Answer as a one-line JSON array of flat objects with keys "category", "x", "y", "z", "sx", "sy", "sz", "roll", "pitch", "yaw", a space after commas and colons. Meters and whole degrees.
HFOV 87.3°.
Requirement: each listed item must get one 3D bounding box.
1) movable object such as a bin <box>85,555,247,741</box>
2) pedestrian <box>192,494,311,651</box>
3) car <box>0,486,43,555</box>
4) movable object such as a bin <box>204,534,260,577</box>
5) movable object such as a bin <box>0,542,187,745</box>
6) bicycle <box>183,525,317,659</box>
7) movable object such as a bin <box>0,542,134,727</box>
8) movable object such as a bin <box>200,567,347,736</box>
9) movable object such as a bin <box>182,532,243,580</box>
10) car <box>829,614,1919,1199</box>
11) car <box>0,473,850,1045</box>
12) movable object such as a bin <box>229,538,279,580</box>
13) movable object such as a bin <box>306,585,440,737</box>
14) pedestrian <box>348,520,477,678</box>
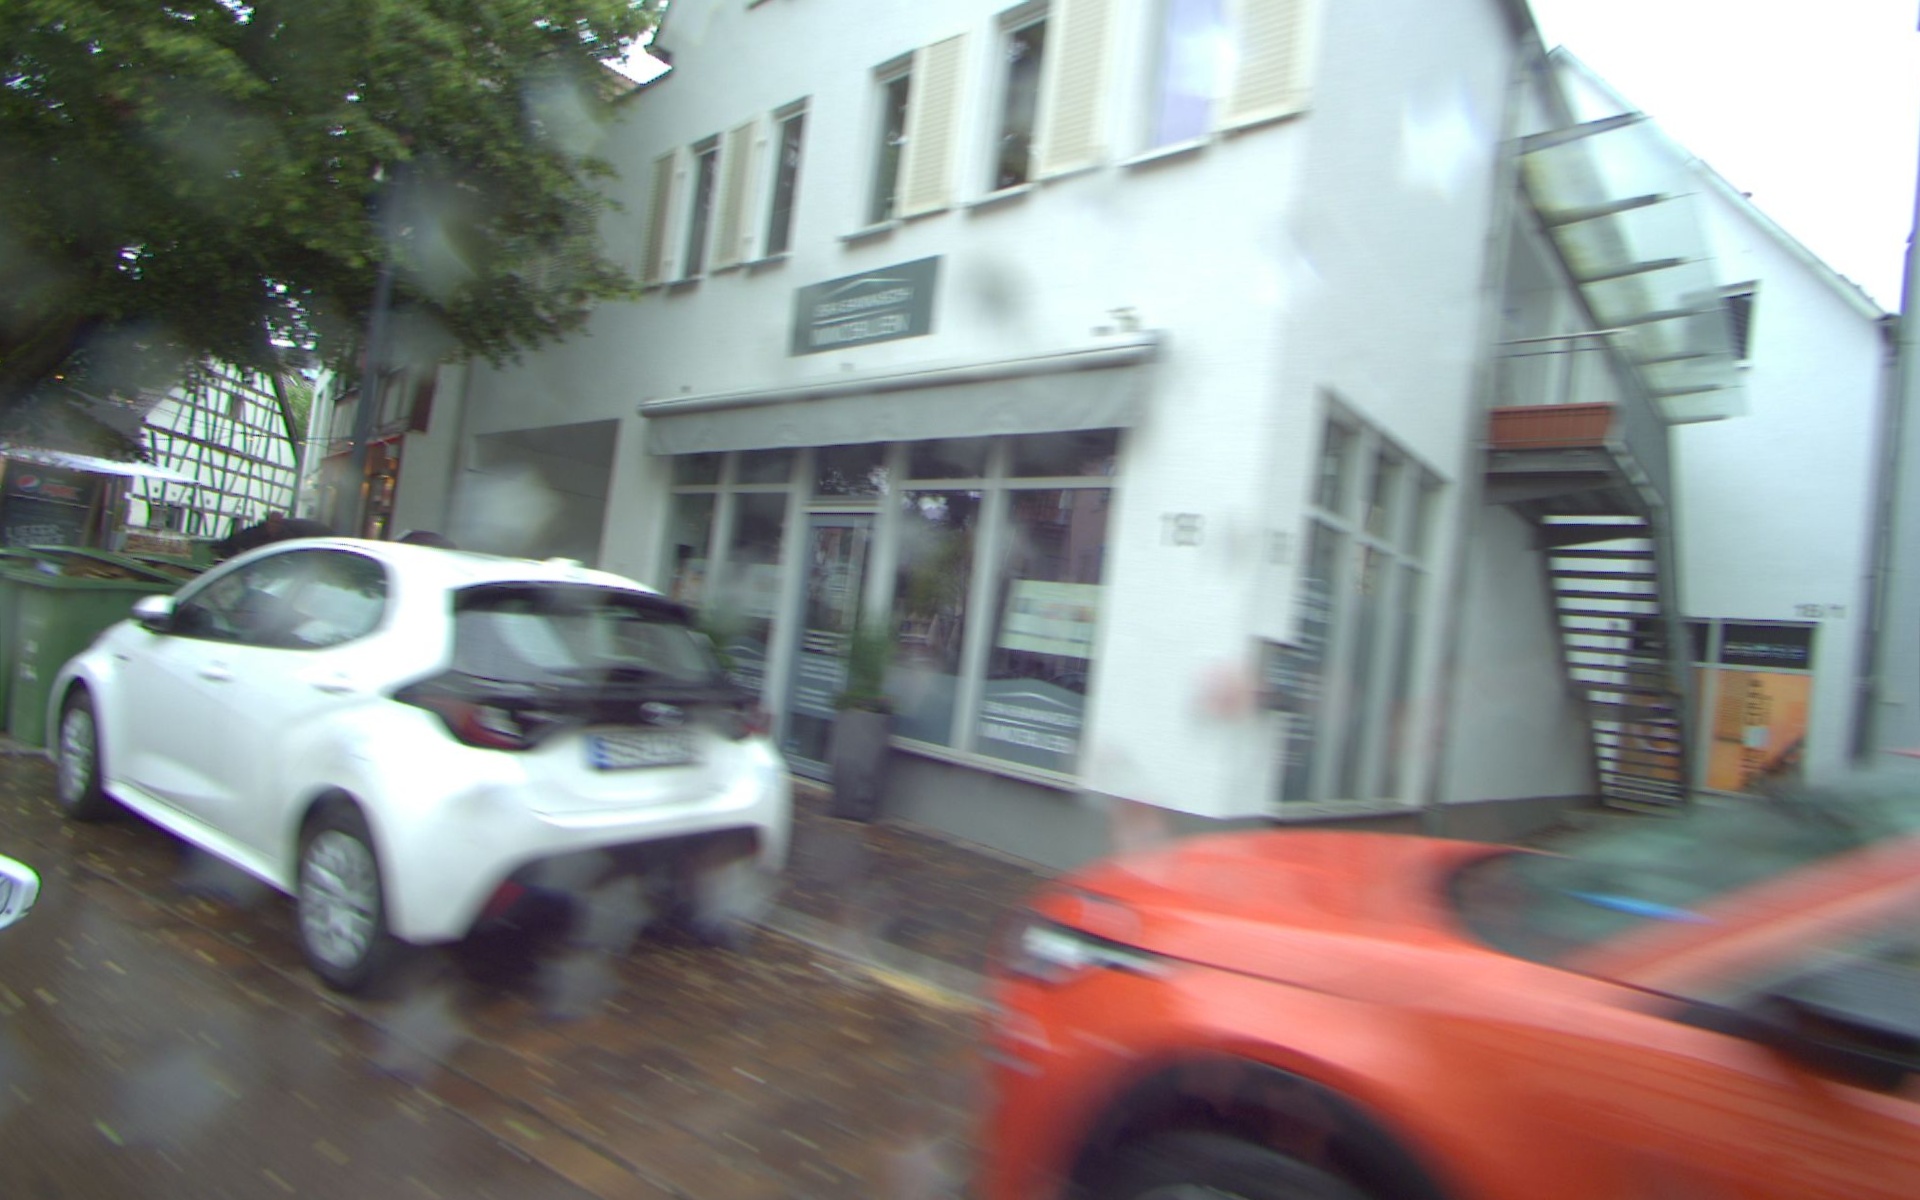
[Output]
[{"category": "movable object such as a bin", "x": -5.482, "y": 0.329, "z": 6.949, "sx": 0.715, "sy": 1.156, "sz": 0.539, "roll": 7, "pitch": 0, "yaw": 29}, {"category": "pedestrian", "x": -8.440, "y": -0.311, "z": 11.986, "sx": 0.907, "sy": 1.718, "sz": 0.851, "roll": 7, "pitch": -1, "yaw": -43}, {"category": "car", "x": -25.465, "y": -2.255, "z": 24.458, "sx": 1.965, "sy": 1.651, "sz": 4.617, "roll": 10, "pitch": -2, "yaw": -2}, {"category": "movable object such as a bin", "x": -20.405, "y": -1.242, "z": 28.224, "sx": 0.842, "sy": 1.034, "sz": 0.831, "roll": 7, "pitch": -3, "yaw": -3}, {"category": "movable object such as a bin", "x": -5.307, "y": 0.268, "z": 6.046, "sx": 0.599, "sy": 1.105, "sz": 0.729, "roll": 5, "pitch": -3, "yaw": 22}, {"category": "bicycle", "x": -8.456, "y": -0.123, "z": 11.943, "sx": 0.922, "sy": 1.367, "sz": 2.189, "roll": 7, "pitch": -1, "yaw": -42}, {"category": "movable object such as a bin", "x": -5.868, "y": 0.214, "z": 6.332, "sx": 0.594, "sy": 1.095, "sz": 0.729, "roll": 5, "pitch": -3, "yaw": 22}, {"category": "movable object such as a bin", "x": -5.152, "y": 0.385, "z": 7.558, "sx": 0.715, "sy": 1.144, "sz": 0.539, "roll": 8, "pitch": 0, "yaw": 29}, {"category": "movable object such as a bin", "x": -20.217, "y": -1.183, "z": 27.230, "sx": 0.842, "sy": 1.123, "sz": 0.880, "roll": 7, "pitch": -3, "yaw": -3}, {"category": "car", "x": 1.883, "y": 1.005, "z": 1.804, "sx": 3.885, "sy": 1.484, "sz": 1.792, "roll": 5, "pitch": -4, "yaw": 32}, {"category": "car", "x": -2.681, "y": 0.425, "z": 4.734, "sx": 3.884, "sy": 1.573, "sz": 1.791, "roll": 6, "pitch": -2, "yaw": 32}, {"category": "movable object such as a bin", "x": -20.445, "y": -1.175, "z": 29.145, "sx": 0.842, "sy": 1.037, "sz": 0.698, "roll": 7, "pitch": -3, "yaw": -3}, {"category": "movable object such as a bin", "x": -4.733, "y": 0.485, "z": 8.113, "sx": 0.715, "sy": 1.096, "sz": 0.539, "roll": 8, "pitch": 0, "yaw": 29}, {"category": "pedestrian", "x": -6.493, "y": -0.008, "z": 11.942, "sx": 0.876, "sy": 1.732, "sz": 0.885, "roll": 5, "pitch": -3, "yaw": 37}]
